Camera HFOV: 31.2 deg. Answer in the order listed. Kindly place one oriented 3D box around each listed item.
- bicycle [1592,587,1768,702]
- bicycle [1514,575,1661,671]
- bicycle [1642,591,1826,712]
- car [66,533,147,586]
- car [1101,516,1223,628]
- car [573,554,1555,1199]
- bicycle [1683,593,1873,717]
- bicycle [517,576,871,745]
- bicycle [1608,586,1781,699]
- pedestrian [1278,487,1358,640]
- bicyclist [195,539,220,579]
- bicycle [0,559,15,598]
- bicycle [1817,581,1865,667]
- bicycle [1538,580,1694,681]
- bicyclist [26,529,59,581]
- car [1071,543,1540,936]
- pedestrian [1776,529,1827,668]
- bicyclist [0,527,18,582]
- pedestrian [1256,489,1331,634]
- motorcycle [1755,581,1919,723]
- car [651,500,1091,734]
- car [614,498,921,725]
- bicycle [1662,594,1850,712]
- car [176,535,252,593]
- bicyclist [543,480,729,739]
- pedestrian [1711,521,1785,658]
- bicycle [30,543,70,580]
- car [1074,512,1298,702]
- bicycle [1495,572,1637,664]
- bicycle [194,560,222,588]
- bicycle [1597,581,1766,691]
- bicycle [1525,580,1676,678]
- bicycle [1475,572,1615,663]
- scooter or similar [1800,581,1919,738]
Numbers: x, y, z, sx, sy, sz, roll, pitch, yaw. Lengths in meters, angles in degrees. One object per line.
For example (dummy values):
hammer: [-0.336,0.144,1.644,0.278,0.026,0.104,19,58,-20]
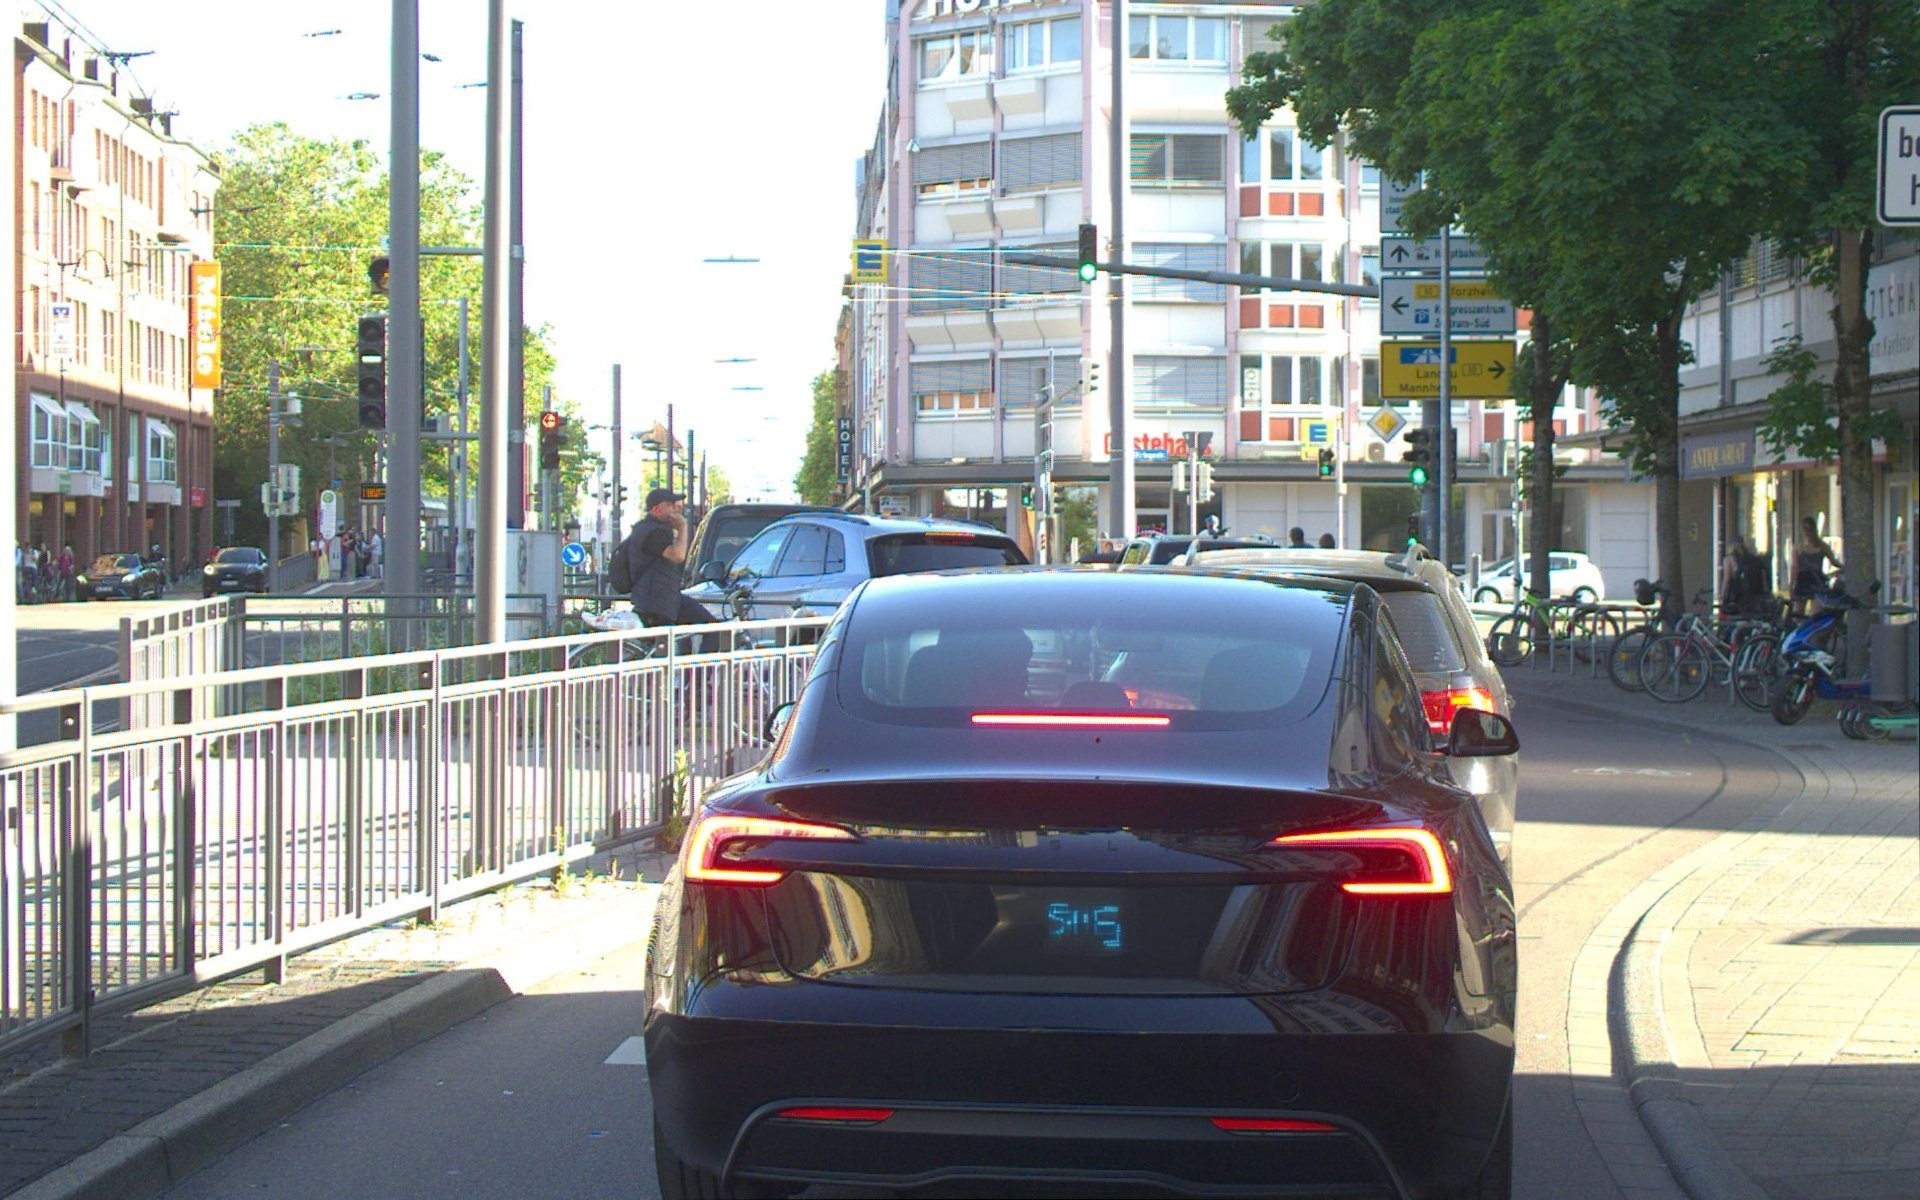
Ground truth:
bicycle: [6.996,0.431,33.406,1.649,1.095,0.350,1,0,-10]
bicycle: [7.358,0.266,40.346,1.650,1.095,0.350,1,0,1]
bicycle: [7.177,0.474,31.878,1.649,1.095,0.350,1,0,-10]
car: [-25.484,-1.201,102.735,1.710,1.521,4.037,1,1,-5]
car: [3.282,-0.466,56.413,1.719,1.745,3.754,1,1,-1]
car: [0.337,0.634,8.446,1.829,1.450,3.999,1,1,4]
bicycle: [7.379,0.494,31.033,1.649,1.095,0.350,1,0,-10]
bicycle: [-1.713,0.384,22.428,2.329,1.050,0.631,0,1,-38]
bicycle: [7.288,0.422,34.106,1.649,1.095,0.350,1,0,-10]
pedestrian: [4.747,-0.486,45.662,0.921,2.007,0.972,1,0,-1]
bicyclist: [-29.376,-1.609,134.205,0.784,1.558,0.746,1,0,2]
bicycle: [-27.252,-0.616,97.250,0.537,1.085,2.225,1,1,-4]
bicycle: [10.762,0.285,42.015,0.332,1.030,1.256,1,0,4]
bicycle: [7.306,0.340,38.306,1.650,1.095,0.350,1,0,1]
bicyclist: [-27.400,-1.349,102.650,0.784,1.558,0.746,0,1,2]
car: [1.510,0.491,15.046,1.751,1.449,3.999,1,1,6]
pedestrian: [10.340,-0.020,42.241,0.526,1.704,0.403,1,0,3]
bicyclist: [-27.292,-1.286,97.770,0.784,1.558,0.746,1,0,-2]
pedestrian: [4.682,-0.547,48.378,0.921,2.007,0.972,1,0,-1]
motorcycle: [7.708,0.441,29.313,1.707,1.169,0.541,1,0,-2]
car: [-0.780,0.098,26.534,1.883,1.656,4.159,1,1,-25]
car: [-1.891,0.076,32.501,1.993,2.007,4.001,0,1,-17]
bicycle: [7.283,0.485,31.455,1.649,1.057,0.350,1,0,-10]
car: [-22.956,-1.107,105.868,1.697,1.725,3.707,1,1,-3]
bicyclist: [-2.091,0.055,22.164,0.758,1.623,0.978,0,1,-39]
pedestrian: [9.637,-0.131,42.046,0.699,1.656,0.777,1,0,-1]
bicycle: [-27.322,-1.160,103.254,0.529,1.085,2.284,0,1,2]
car: [2.207,0.046,34.534,1.598,1.772,3.981,1,1,-6]
bicycle: [7.295,0.209,41.392,1.650,1.095,0.350,0,1,1]
bicycle: [-29.379,-1.017,134.326,0.529,1.085,2.224,1,1,1]
bicycle: [7.415,0.366,35.354,1.650,1.095,0.350,1,0,1]
bicycle: [7.326,0.327,39.333,1.650,1.095,0.350,1,0,1]
bicycle: [7.228,0.218,42.486,1.650,1.095,0.350,1,0,1]
scooter or similar: [7.553,0.471,27.195,1.644,1.211,0.644,1,0,30]
